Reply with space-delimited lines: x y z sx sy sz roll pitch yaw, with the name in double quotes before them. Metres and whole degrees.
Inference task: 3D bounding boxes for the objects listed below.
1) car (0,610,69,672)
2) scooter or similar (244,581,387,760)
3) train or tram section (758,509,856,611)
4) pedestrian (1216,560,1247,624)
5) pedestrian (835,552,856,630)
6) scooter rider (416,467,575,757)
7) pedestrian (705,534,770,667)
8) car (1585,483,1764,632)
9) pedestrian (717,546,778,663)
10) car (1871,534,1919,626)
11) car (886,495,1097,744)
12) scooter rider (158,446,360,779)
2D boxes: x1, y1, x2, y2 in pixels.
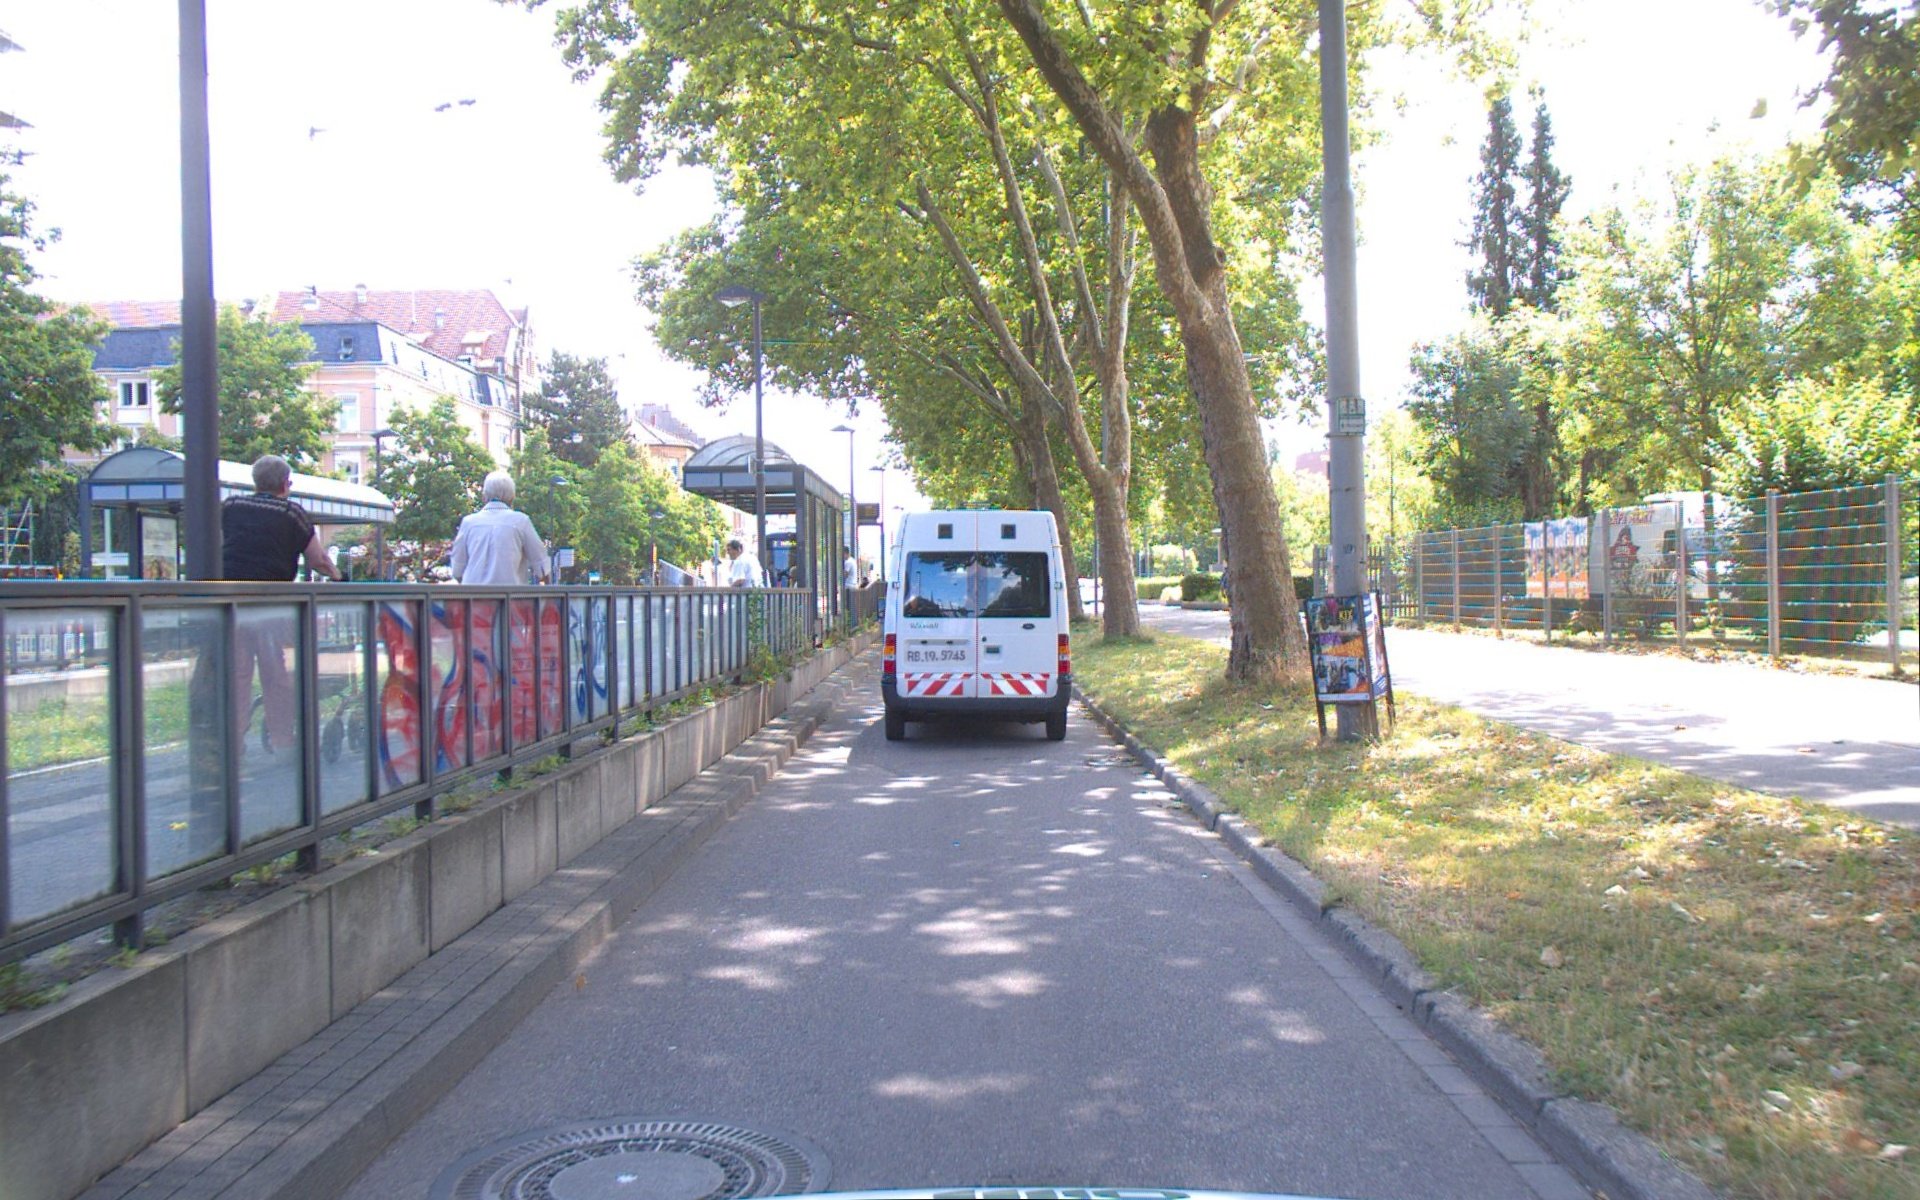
"car" -23.030 0.983 39.297 1.684 1.395 3.704 -1 0 0
"scooter or similar" -3.633 0.388 9.346 0.619 0.972 0.421 -1 0 -1
"train or tram section" -5.912 -1.473 65.968 2.668 3.646 13.015 -1 0 0
"pedestrian" 7.185 -0.213 43.790 0.679 1.654 0.637 -1 0 -1
"pedestrian" -2.400 -0.196 34.755 0.377 1.619 0.439 -1 0 -1
"scooter rider" -2.685 0.061 9.634 0.641 1.598 0.901 -1 0 -1
"pedestrian" -2.651 0.005 19.752 0.662 1.542 0.596 -1 0 -1
"car" 14.488 -0.837 33.808 1.770 2.823 4.278 -1 0 0
"pedestrian" -2.659 0.054 20.774 0.662 1.427 0.596 -1 0 -1
"car" 20.074 -0.406 32.735 1.769 1.846 4.340 -1 0 2
"car" 0.257 0.150 18.451 2.006 2.373 4.713 -1 1 -1
"scooter rider" -3.647 0.058 8.670 0.641 1.642 0.901 -1 0 -1
